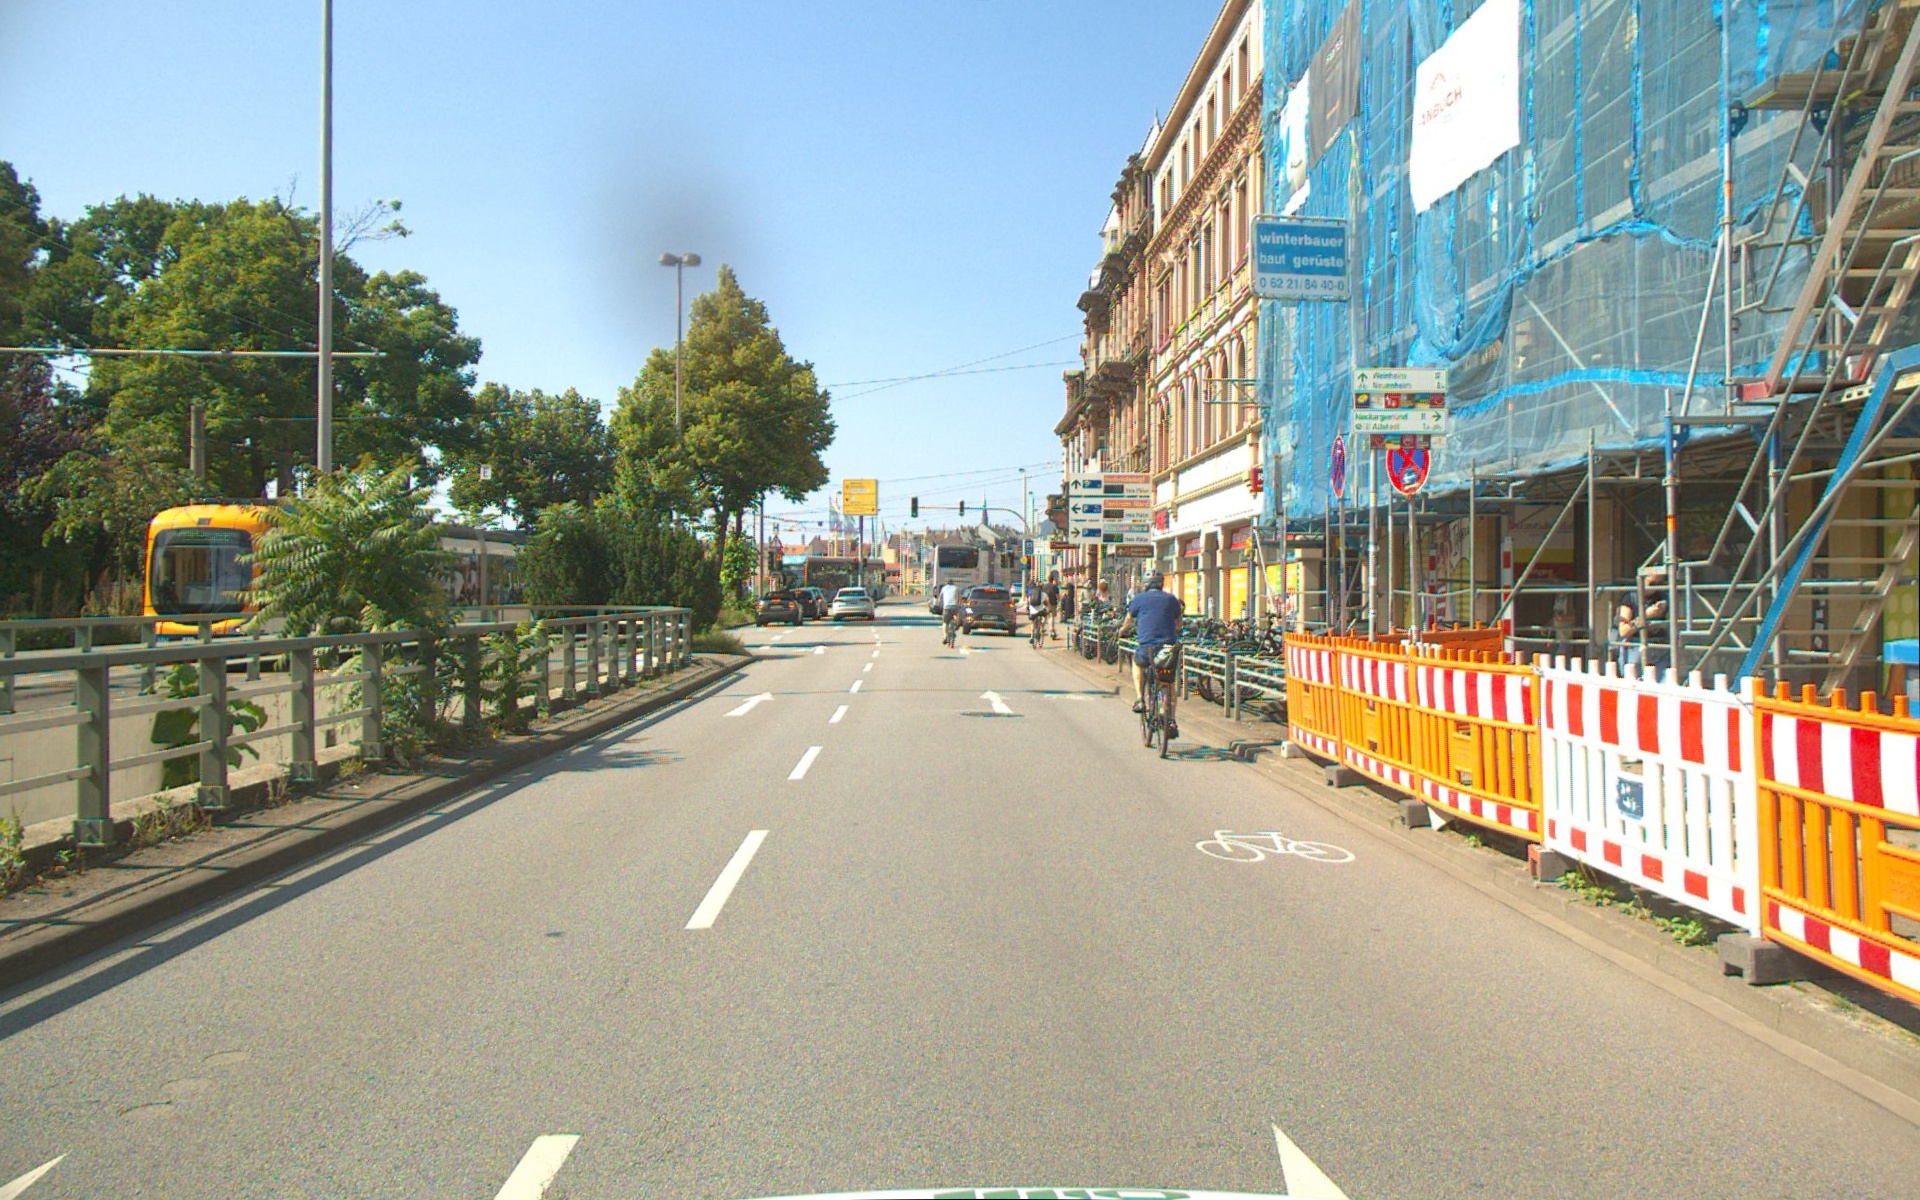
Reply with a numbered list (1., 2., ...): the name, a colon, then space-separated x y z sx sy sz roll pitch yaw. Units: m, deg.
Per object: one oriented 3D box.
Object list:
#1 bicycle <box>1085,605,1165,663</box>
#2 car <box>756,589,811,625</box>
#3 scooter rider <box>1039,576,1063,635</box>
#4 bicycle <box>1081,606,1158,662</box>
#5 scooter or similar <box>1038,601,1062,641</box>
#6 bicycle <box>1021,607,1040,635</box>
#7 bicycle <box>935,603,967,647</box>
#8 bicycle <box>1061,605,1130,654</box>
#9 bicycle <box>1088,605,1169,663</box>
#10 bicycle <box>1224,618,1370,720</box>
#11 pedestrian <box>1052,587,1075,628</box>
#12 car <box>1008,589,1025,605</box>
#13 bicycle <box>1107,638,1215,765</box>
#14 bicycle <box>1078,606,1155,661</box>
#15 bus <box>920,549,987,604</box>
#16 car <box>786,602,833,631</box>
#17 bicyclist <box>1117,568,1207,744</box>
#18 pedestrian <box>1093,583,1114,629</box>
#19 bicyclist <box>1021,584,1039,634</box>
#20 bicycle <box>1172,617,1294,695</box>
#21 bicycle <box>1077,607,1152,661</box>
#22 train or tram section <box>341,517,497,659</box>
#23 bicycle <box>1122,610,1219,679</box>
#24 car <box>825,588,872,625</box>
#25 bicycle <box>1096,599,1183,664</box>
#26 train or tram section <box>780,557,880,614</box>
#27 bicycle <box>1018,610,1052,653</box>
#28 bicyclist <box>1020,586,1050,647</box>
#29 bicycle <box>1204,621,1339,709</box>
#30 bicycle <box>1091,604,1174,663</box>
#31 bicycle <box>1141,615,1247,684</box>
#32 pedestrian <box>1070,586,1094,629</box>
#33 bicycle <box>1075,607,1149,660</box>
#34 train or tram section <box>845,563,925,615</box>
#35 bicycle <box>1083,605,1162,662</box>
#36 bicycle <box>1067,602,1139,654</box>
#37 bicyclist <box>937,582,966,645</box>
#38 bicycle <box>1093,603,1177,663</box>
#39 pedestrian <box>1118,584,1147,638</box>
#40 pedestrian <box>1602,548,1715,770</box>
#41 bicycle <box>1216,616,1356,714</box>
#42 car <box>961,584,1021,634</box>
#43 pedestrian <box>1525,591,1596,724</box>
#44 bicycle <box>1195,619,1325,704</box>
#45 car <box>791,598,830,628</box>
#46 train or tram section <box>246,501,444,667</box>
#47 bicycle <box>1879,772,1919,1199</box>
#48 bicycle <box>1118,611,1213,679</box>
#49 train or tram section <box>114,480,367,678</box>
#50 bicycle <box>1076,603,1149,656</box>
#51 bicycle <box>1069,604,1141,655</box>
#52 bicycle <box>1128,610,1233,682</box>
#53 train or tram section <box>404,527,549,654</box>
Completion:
1. bicycle: 3.557 0.732 35.709 1.659 1.199 0.463 1 -1 -1
2. car: -7.118 0.289 67.114 1.778 1.355 3.999 2 0 0
3. scooter rider: 2.770 0.170 50.450 0.674 1.759 0.778 2 -1 1
4. bicycle: 3.546 0.751 36.818 1.659 1.199 0.514 1 -1 -1
5. scooter or similar: 2.738 0.633 50.407 0.674 1.188 1.464 2 -1 1
6. bicycle: 2.859 0.844 67.351 0.719 1.112 1.898 2 0 2
7. bicycle: -0.243 0.649 43.466 0.719 1.112 1.897 2 0 -3
8. bicycle: 3.348 0.720 40.956 1.659 1.199 0.608 0 0 -1
9. bicycle: 3.576 0.716 35.185 1.659 1.199 0.451 1 -1 -1
10. bicycle: 4.167 0.846 20.513 1.659 1.199 0.608 1 -1 -1
11. pedestrian: 4.175 0.296 66.614 0.845 1.669 0.875 0 0 -3
12. car: 6.633 -0.349 194.794 1.952 1.910 4.000 -1 0 1
13. bicycle: 1.940 0.959 16.211 0.719 1.112 1.910 2 0 -3
14. bicycle: 3.532 0.760 37.374 1.659 1.199 0.459 1 -1 -1
15. bus: -0.441 -1.199 88.271 2.911 2.825 8.632 0 0 -5
16. car: -7.560 0.815 83.603 1.995 1.355 3.999 2 0 0
17. bicyclist: 1.959 0.538 16.143 0.674 1.644 0.918 2 -1 -2
18. pedestrian: 5.286 0.215 60.961 0.641 1.649 0.815 -1 0 -3
19. bicyclist: 2.853 0.380 67.404 0.674 1.996 0.778 2 -1 1
20. bicycle: 4.103 0.835 24.919 1.703 1.128 0.608 1 -1 -1
21. bicycle: 3.534 0.774 37.912 1.659 1.199 0.460 1 -1 -1
22. train or tram section: -14.961 -0.305 46.134 2.561 3.643 5.355 2 -1 -2
23. bicycle: 3.794 0.794 29.877 1.659 1.199 0.608 1 -1 -1
24. car: -4.935 0.292 73.726 1.821 1.533 3.999 2 0 0
25. bicycle: 3.626 0.643 33.442 1.659 1.262 0.608 1 -1 -1
26. train or tram section: -8.937 -0.950 115.586 2.765 3.643 10.031 2 -1 21
27. bicycle: 2.020 0.842 44.729 0.719 1.112 1.897 2 0 -2
28. bicyclist: 2.027 0.453 44.791 0.674 1.604 1.049 2 -1 -2
29. bicycle: 4.142 0.863 22.042 1.659 1.117 0.608 1 -1 -1
30. bicycle: 3.605 0.694 34.653 1.659 1.199 0.490 1 -1 -1
31. bicycle: 3.903 0.819 27.631 1.659 1.106 0.608 1 -1 -1
32. pedestrian: 4.791 0.308 64.942 0.845 1.669 0.875 0 0 -3
33. bicycle: 3.534 0.775 38.477 1.659 1.199 0.469 1 -1 -1
34. train or tram section: -5.527 -0.761 124.071 2.765 3.643 8.225 2 -1 21
35. bicycle: 3.556 0.735 36.250 1.659 1.199 0.457 1 -1 -1
36. bicycle: 3.473 0.677 40.326 1.659 1.199 0.608 -2 0 -1
37. bicyclist: -0.227 0.358 43.433 0.674 1.604 1.049 2 -1 -3
38. bicycle: 3.601 0.678 34.082 1.659 1.199 0.497 1 -1 -1
39. pedestrian: 5.609 0.360 53.670 0.740 1.685 0.837 -3 -1 -2
40. pedestrian: 5.896 0.491 13.985 0.626 1.807 0.649 2 -1 -2
41. bicycle: 4.172 0.831 21.228 1.659 1.199 0.608 1 -1 -1
42. car: 0.975 0.313 54.680 1.835 1.519 3.999 2 0 0
43. pedestrian: 7.602 0.716 20.933 0.632 1.629 0.762 2 -1 35
44. bicycle: 4.112 0.839 22.760 1.659 1.116 0.608 1 -1 -1
45. car: -6.875 0.598 76.322 1.422 1.323 3.999 2 0 0
46. train or tram section: -14.839 -0.340 40.423 2.561 3.643 6.101 2 0 -2
47. bicycle: 2.420 0.940 2.561 0.719 1.112 2.129 2 0 -3
48. bicycle: 3.787 0.819 30.552 1.659 1.199 0.608 1 -1 -1
49. train or tram section: -14.696 -0.377 34.317 2.561 3.643 6.101 2 0 -2
50. bicycle: 3.605 0.690 39.079 1.659 1.199 0.469 1 -1 -1
51. bicycle: 3.475 0.709 39.672 1.659 1.199 0.608 -1 0 -1
52. bicycle: 3.851 0.802 29.010 1.735 1.199 0.608 1 -1 -1
53. train or tram section: -15.125 -0.268 52.243 2.561 3.643 6.895 2 0 -2
